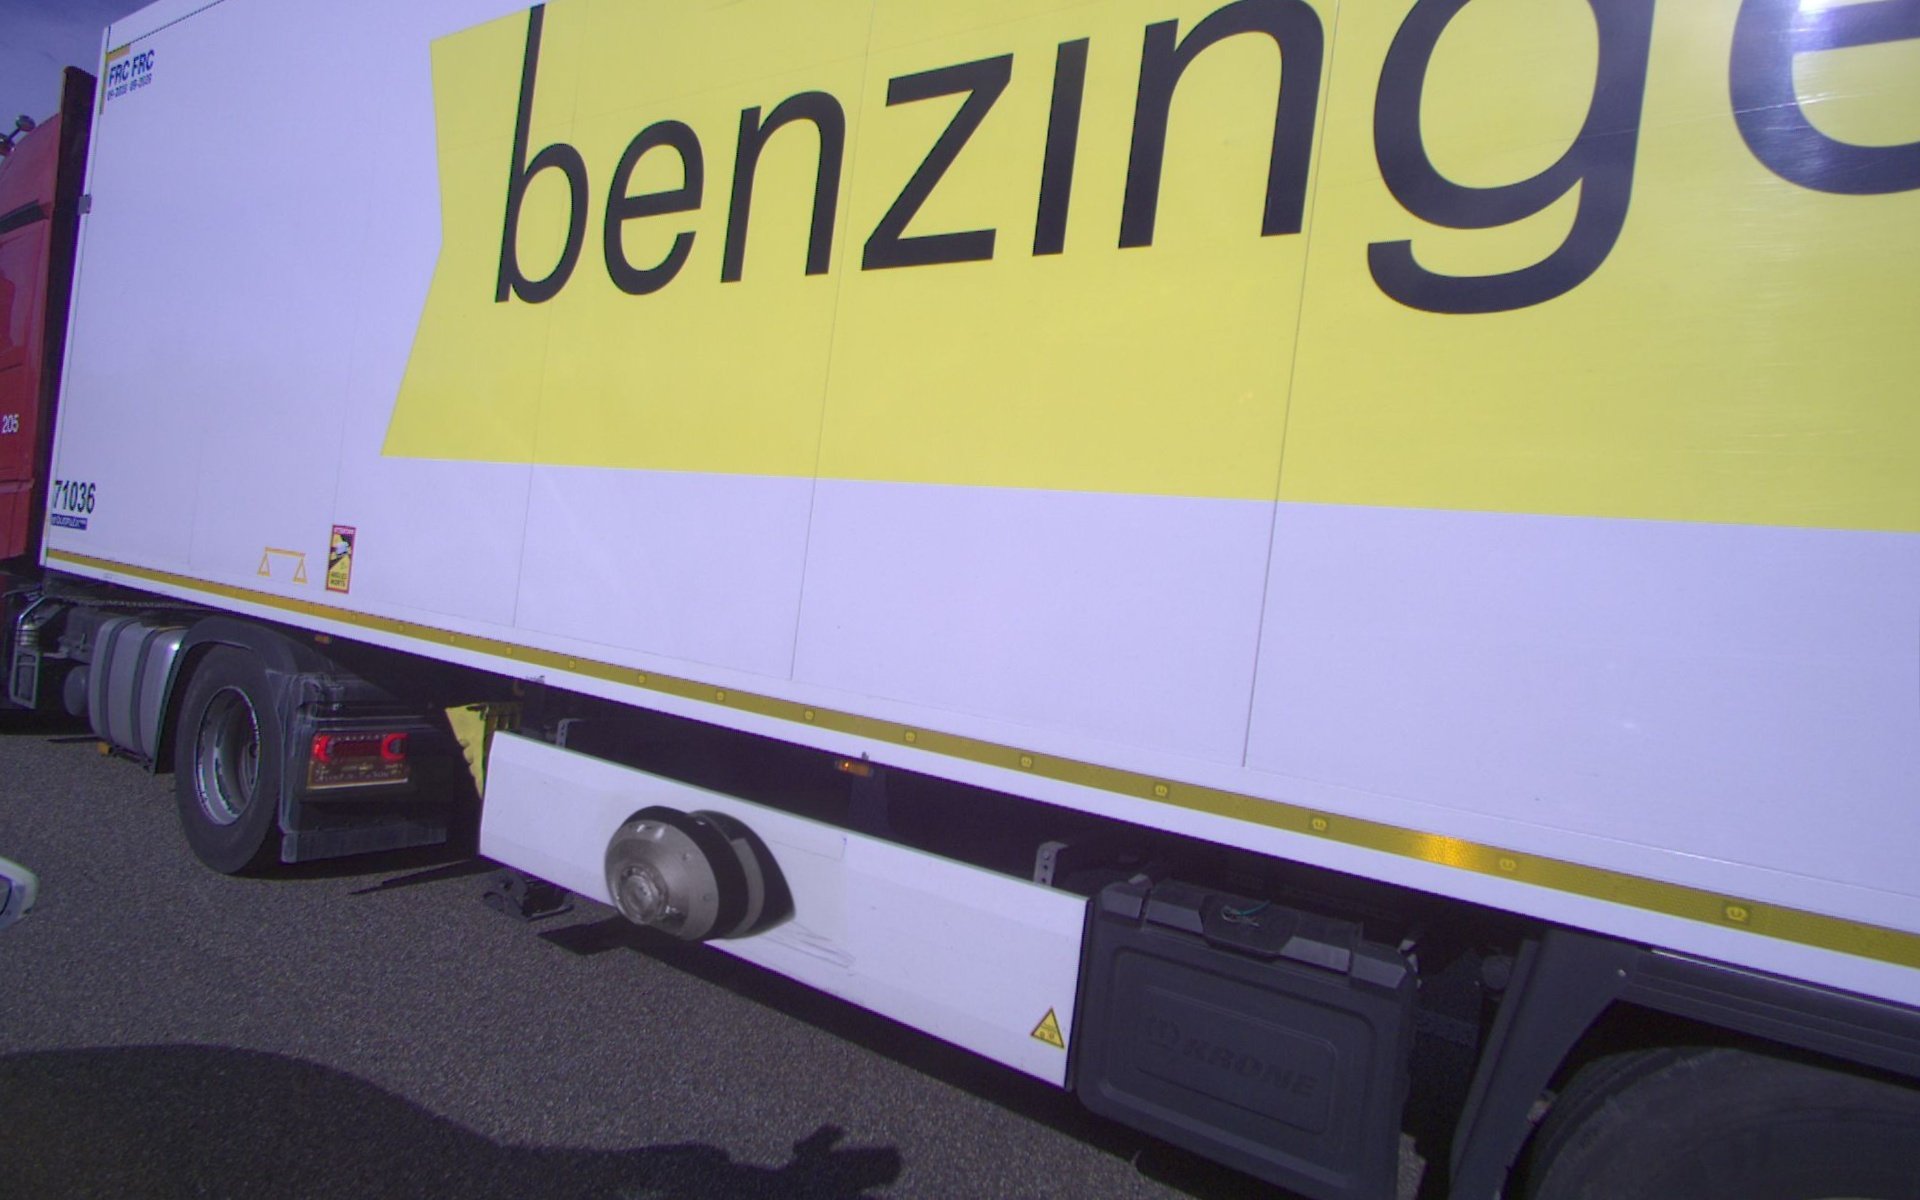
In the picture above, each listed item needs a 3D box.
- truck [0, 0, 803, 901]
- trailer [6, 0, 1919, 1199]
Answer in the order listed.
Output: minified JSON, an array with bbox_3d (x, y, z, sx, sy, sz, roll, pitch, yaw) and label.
[{"bbox_3d":[-4.368,-0.957,6.596,5.728,3.985,2.807,7,-1,31],"label":"truck"},{"bbox_3d":[1.514,-0.289,2.939,12.853,3.985,2.796,7,-1,32],"label":"trailer"}]
